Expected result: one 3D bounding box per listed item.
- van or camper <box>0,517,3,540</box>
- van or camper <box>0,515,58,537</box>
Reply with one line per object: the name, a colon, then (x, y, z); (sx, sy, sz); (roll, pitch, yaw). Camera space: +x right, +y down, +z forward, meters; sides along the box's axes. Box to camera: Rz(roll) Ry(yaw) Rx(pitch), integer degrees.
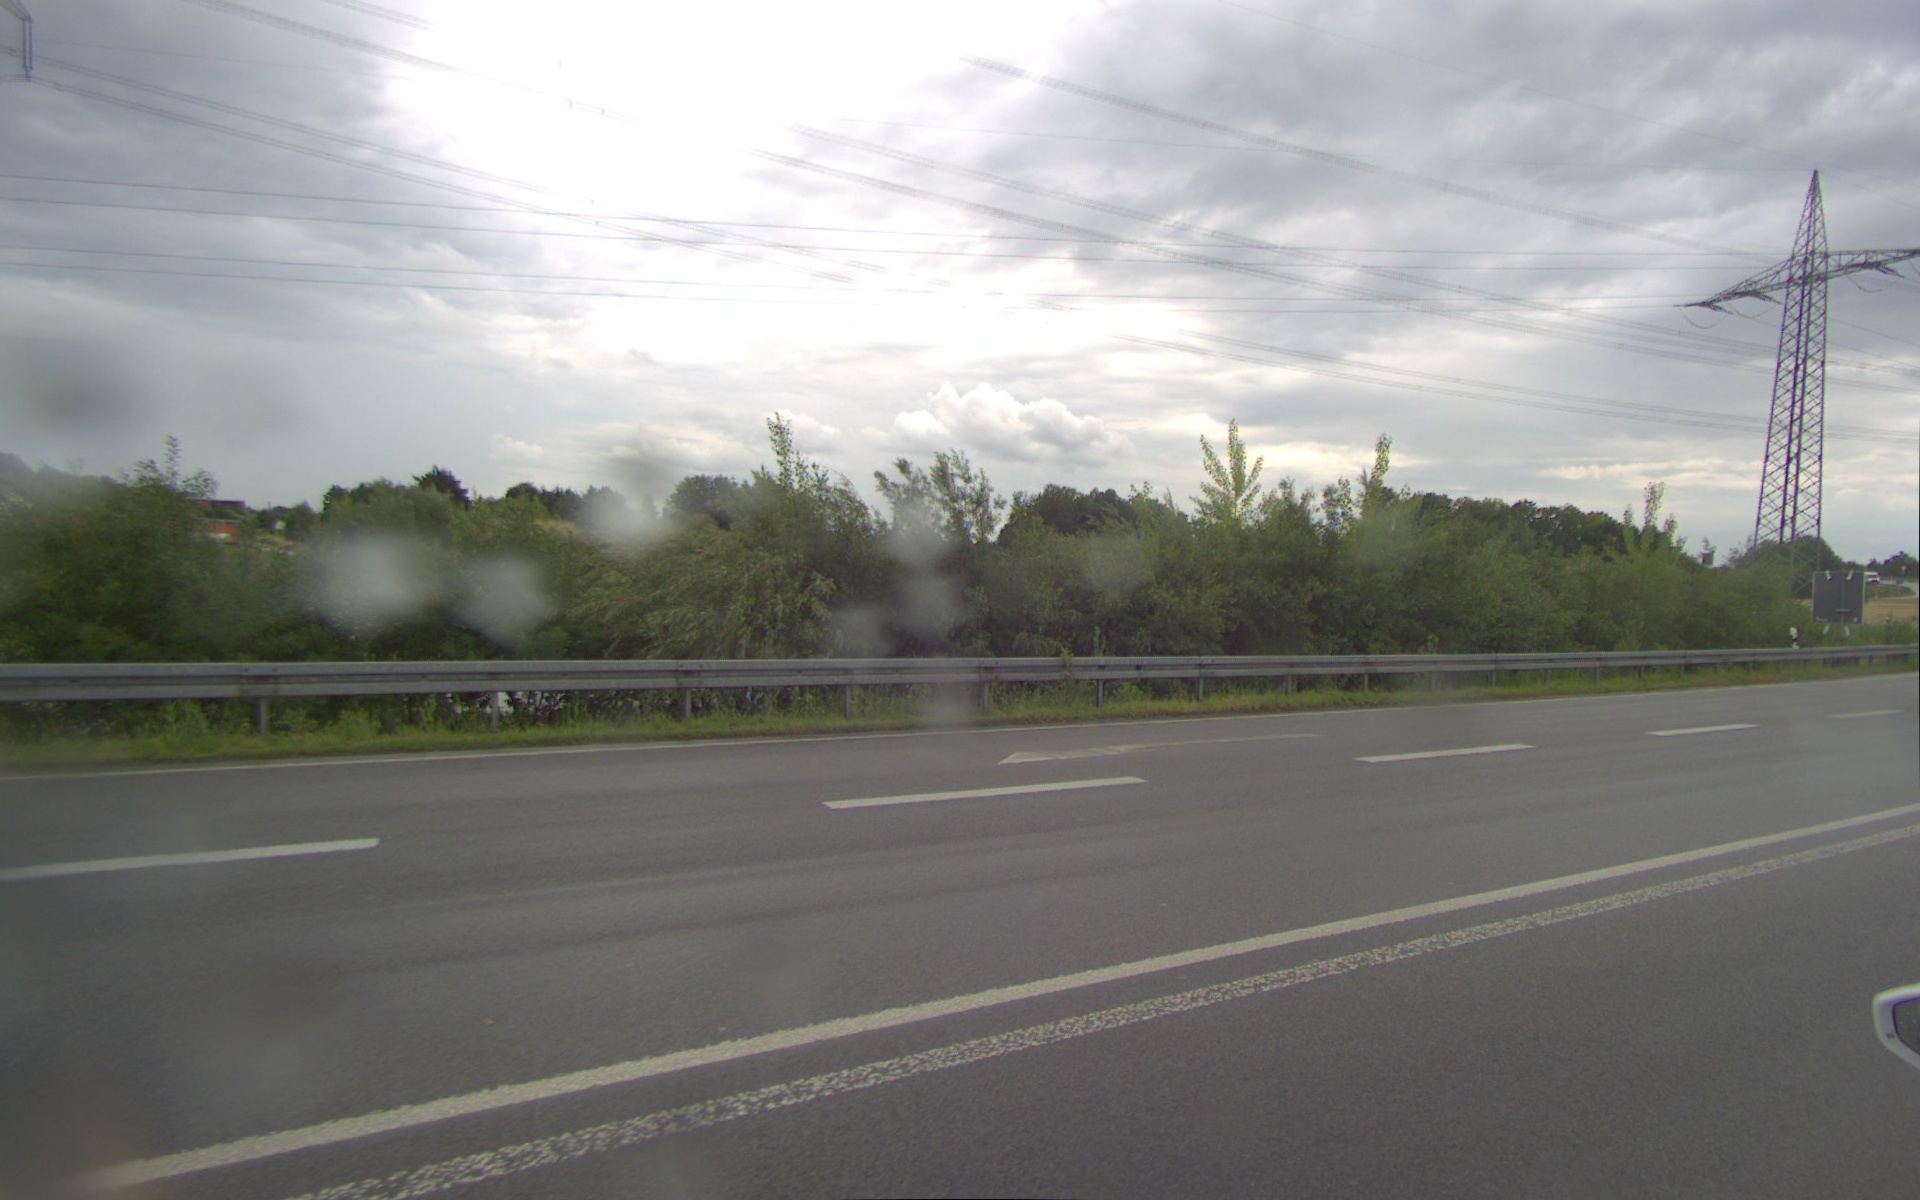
van or camper: (-123.571, -9.171, 127.865); (2.312, 2.667, 5.645); (1, 4, -42)
van or camper: (-130.384, -10.337, 140.717); (5.661, 2.667, 2.305); (2, 4, -35)
